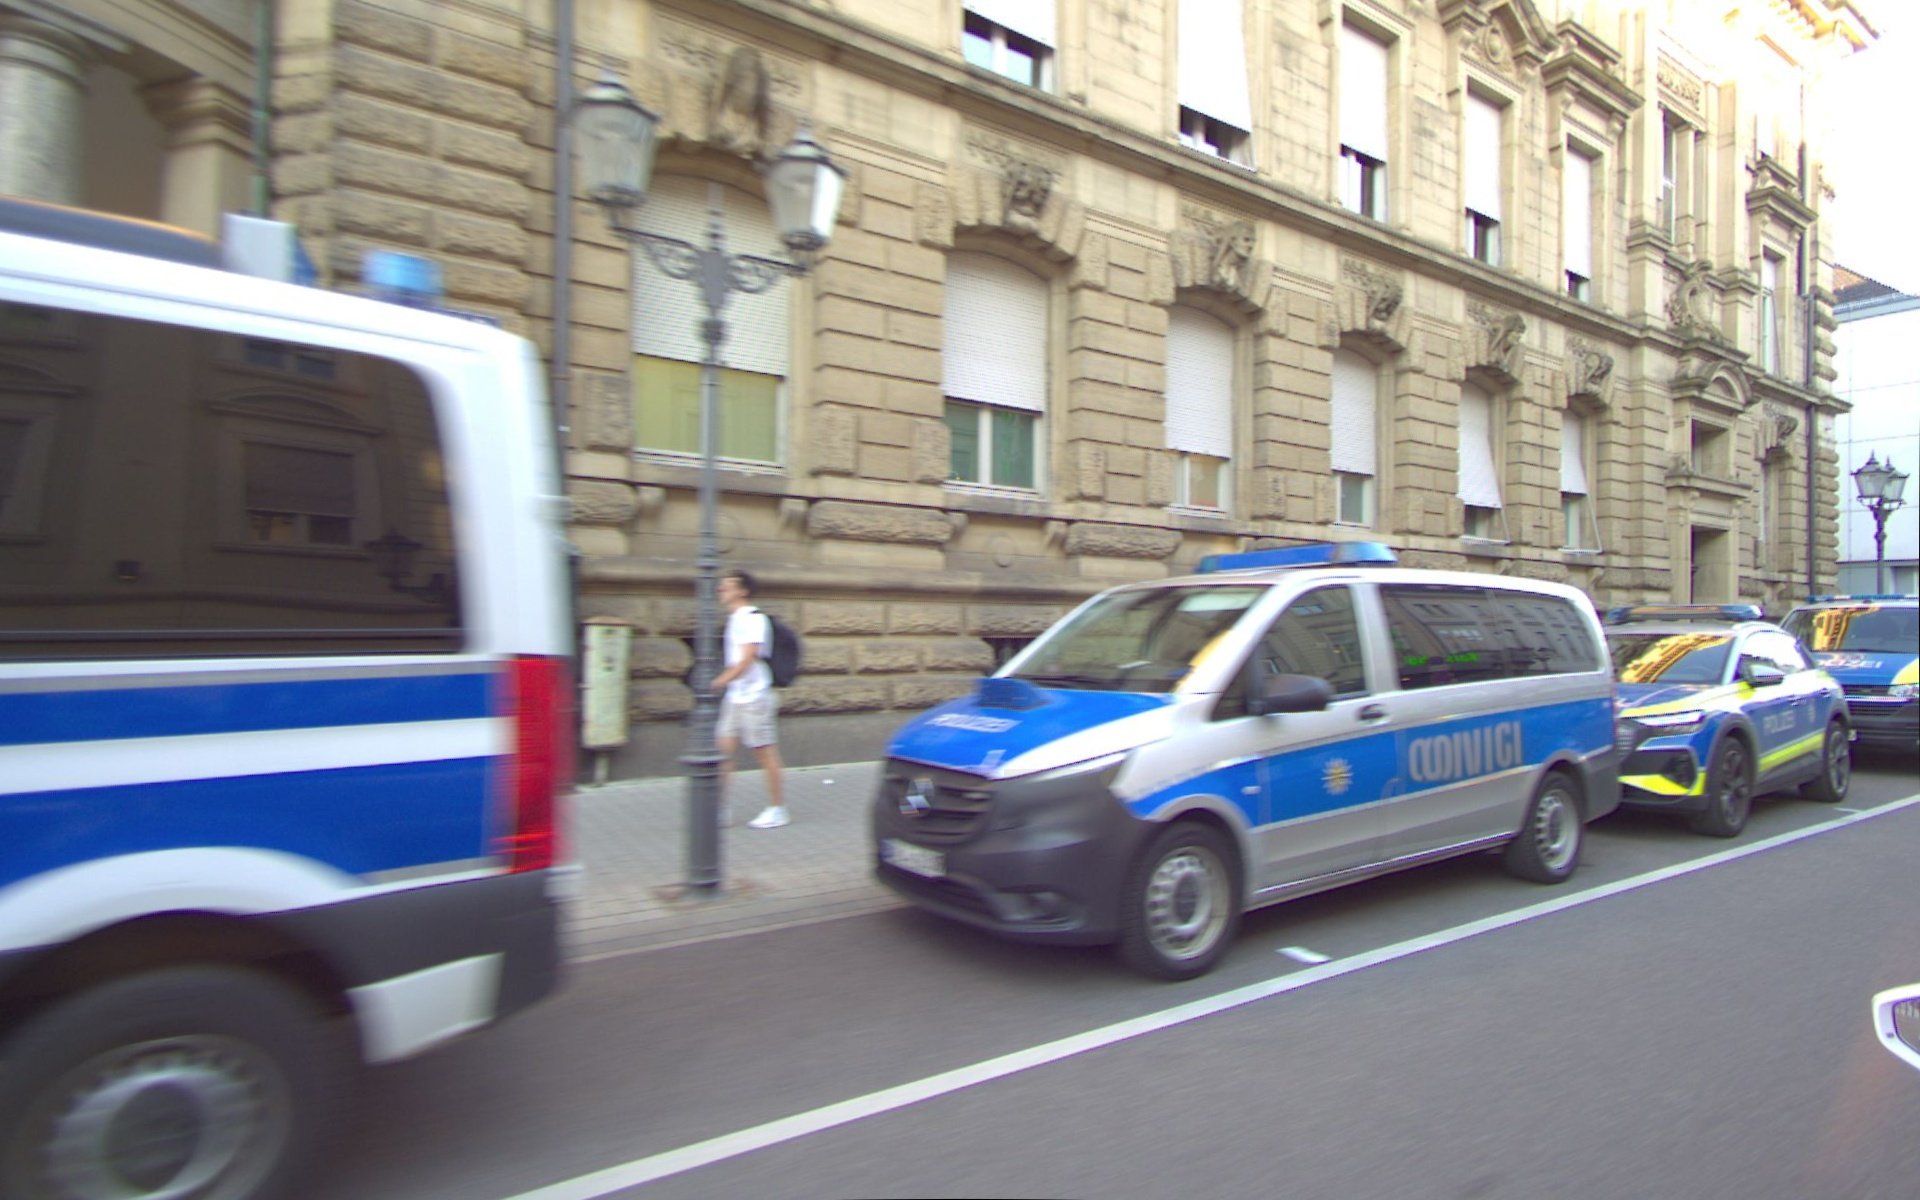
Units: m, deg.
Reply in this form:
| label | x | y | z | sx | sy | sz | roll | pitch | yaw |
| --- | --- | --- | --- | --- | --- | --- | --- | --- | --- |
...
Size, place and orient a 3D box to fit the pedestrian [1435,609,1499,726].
| label | x | y | z | sx | sy | sz | roll | pitch | yaw |
| --- | --- | --- | --- | --- | --- | --- | --- | --- | --- |
| pedestrian | 7.766 | 1.015 | 15.393 | 0.695 | 1.753 | 0.604 | 1 | -1 | -32 |

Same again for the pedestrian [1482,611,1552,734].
| label | x | y | z | sx | sy | sz | roll | pitch | yaw |
| --- | --- | --- | --- | --- | --- | --- | --- | --- | --- |
| pedestrian | 8.179 | 1.041 | 14.743 | 0.821 | 1.753 | 0.579 | 1 | -1 | -32 |

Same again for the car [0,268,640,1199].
| label | x | y | z | sx | sy | sz | roll | pitch | yaw |
| --- | --- | --- | --- | --- | --- | --- | --- | --- | --- |
| car | -3.570 | 0.397 | 2.123 | 5.157 | 2.200 | 1.980 | 2 | -1 | -36 |

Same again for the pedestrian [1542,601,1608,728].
| label | x | y | z | sx | sy | sz | roll | pitch | yaw |
| --- | --- | --- | --- | --- | --- | --- | --- | --- | --- |
| pedestrian | 8.711 | 0.896 | 14.229 | 0.700 | 1.753 | 0.556 | 1 | -1 | -32 |

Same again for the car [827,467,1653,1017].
| label | x | y | z | sx | sy | sz | roll | pitch | yaw |
| --- | --- | --- | --- | --- | --- | --- | --- | --- | --- |
| car | 1.956 | 0.634 | 6.136 | 5.152 | 2.115 | 1.982 | 2 | -2 | -33 |

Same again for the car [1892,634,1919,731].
| label | x | y | z | sx | sy | sz | roll | pitch | yaw |
| --- | --- | --- | --- | --- | --- | --- | --- | --- | --- |
| car | 17.129 | 1.336 | 16.326 | 4.120 | 1.514 | 1.982 | 2 | -2 | -33 |

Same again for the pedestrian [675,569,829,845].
| label | x | y | z | sx | sy | sz | roll | pitch | yaw |
| --- | --- | --- | --- | --- | --- | --- | --- | --- | --- |
| pedestrian | -1.514 | 0.737 | 7.308 | 0.902 | 1.863 | 0.648 | 1 | -1 | -34 |

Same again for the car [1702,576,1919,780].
| label | x | y | z | sx | sy | sz | roll | pitch | yaw |
| --- | --- | --- | --- | --- | --- | --- | --- | --- | --- |
| car | 11.465 | 0.905 | 12.508 | 4.936 | 2.104 | 1.982 | 2 | -2 | -33 |

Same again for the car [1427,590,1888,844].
| label | x | y | z | sx | sy | sz | roll | pitch | yaw |
| --- | --- | --- | --- | --- | --- | --- | --- | --- | --- |
| car | 6.605 | 0.911 | 9.305 | 4.941 | 1.775 | 1.980 | 2 | -2 | -36 |
